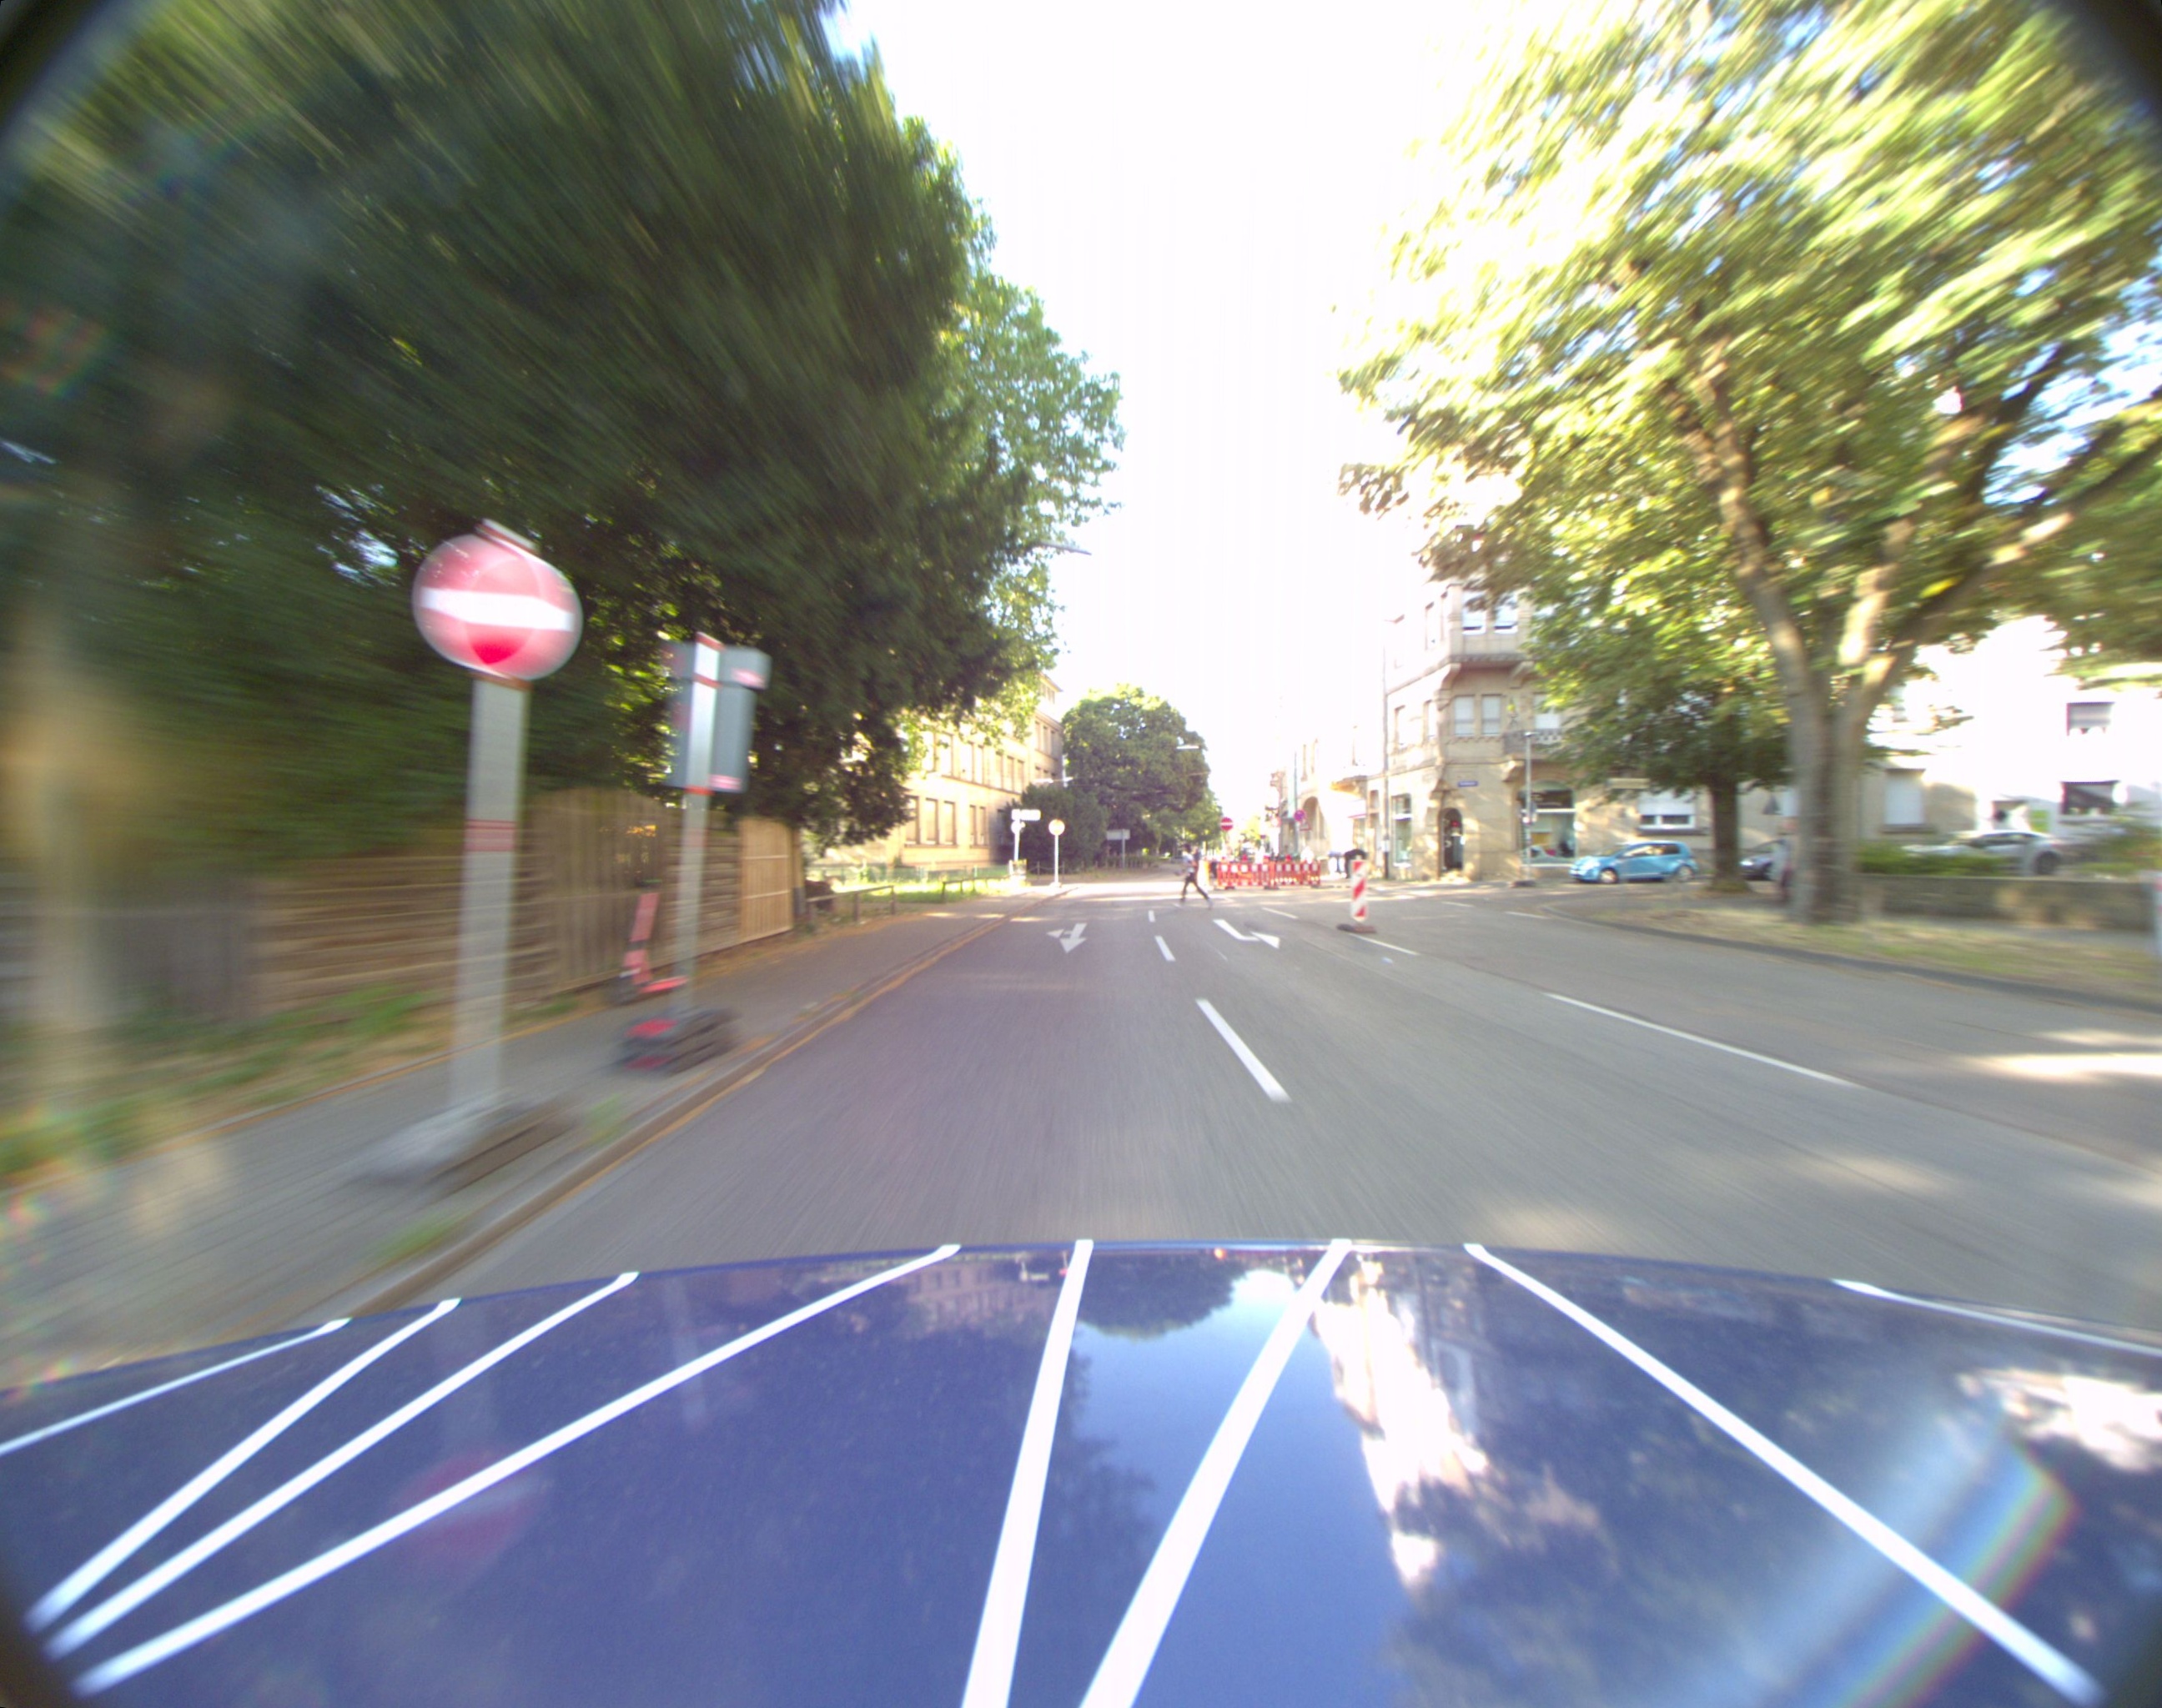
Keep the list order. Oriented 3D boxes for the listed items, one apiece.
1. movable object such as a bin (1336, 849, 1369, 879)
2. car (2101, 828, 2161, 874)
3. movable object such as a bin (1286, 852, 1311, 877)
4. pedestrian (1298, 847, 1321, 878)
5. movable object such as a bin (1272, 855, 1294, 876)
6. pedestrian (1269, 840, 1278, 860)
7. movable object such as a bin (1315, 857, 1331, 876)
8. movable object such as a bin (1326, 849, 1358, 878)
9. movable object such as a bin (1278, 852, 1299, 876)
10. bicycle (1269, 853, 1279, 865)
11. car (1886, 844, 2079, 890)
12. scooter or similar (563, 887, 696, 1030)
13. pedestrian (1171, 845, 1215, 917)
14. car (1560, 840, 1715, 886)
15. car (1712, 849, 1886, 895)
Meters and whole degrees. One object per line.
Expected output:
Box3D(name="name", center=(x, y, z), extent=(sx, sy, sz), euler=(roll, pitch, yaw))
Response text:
Box3D(name="movable object such as a bin", center=(13.358, 0.476, 37.412), extent=(1.085, 1.423, 1.345), euler=(-2, 0, -2))
Box3D(name="car", center=(36.978, -0.117, 24.995), extent=(3.996, 1.477, 2.000), euler=(-1, 0, 3))
Box3D(name="movable object such as a bin", center=(12.751, 0.601, 44.543), extent=(1.085, 1.423, 1.407), euler=(-2, 0, 3))
Box3D(name="pedestrian", center=(12.022, 0.460, 39.960), extent=(0.823, 1.594, 0.917), euler=(-2, 0, -5))
Box3D(name="movable object such as a bin", center=(12.829, 0.744, 48.296), extent=(1.085, 1.256, 1.335), euler=(-2, 0, 4))
Box3D(name="pedestrian", center=(14.831, -0.291, 58.572), extent=(0.599, 1.547, 0.616), euler=(-2, 0, 8))
Box3D(name="movable object such as a bin", center=(13.278, 0.693, 41.633), extent=(0.637, 1.035, 0.764), euler=(-2, 0, 3))
Box3D(name="movable object such as a bin", center=(13.331, 0.473, 38.881), extent=(1.085, 1.423, 1.407), euler=(-2, 0, -2))
Box3D(name="movable object such as a bin", center=(12.791, 0.600, 46.767), extent=(1.083, 1.423, 1.409), euler=(-2, 0, 19))
Box3D(name="bicycle", center=(14.848, 0.363, 58.472), extent=(0.601, 0.927, 1.474), euler=(-2, 0, 8))
Box3D(name="car", center=(30.231, 0.420, 25.590), extent=(3.996, 1.477, 2.000), euler=(-1, 0, 3))
Box3D(name="scooter or similar", center=(-4.329, 0.957, 7.379), extent=(0.439, 1.195, 1.259), euler=(2, 1, 4))
Box3D(name="pedestrian", center=(2.885, 0.673, 19.563), extent=(1.045, 1.771, 1.192), euler=(-1, 1, 9))
Box3D(name="car", center=(19.552, 0.298, 26.854), extent=(3.996, 1.543, 2.000), euler=(-1, 0, 3))
Box3D(name="car", center=(24.447, 0.586, 25.997), extent=(3.996, 1.477, 2.000), euler=(-1, 0, 3))
